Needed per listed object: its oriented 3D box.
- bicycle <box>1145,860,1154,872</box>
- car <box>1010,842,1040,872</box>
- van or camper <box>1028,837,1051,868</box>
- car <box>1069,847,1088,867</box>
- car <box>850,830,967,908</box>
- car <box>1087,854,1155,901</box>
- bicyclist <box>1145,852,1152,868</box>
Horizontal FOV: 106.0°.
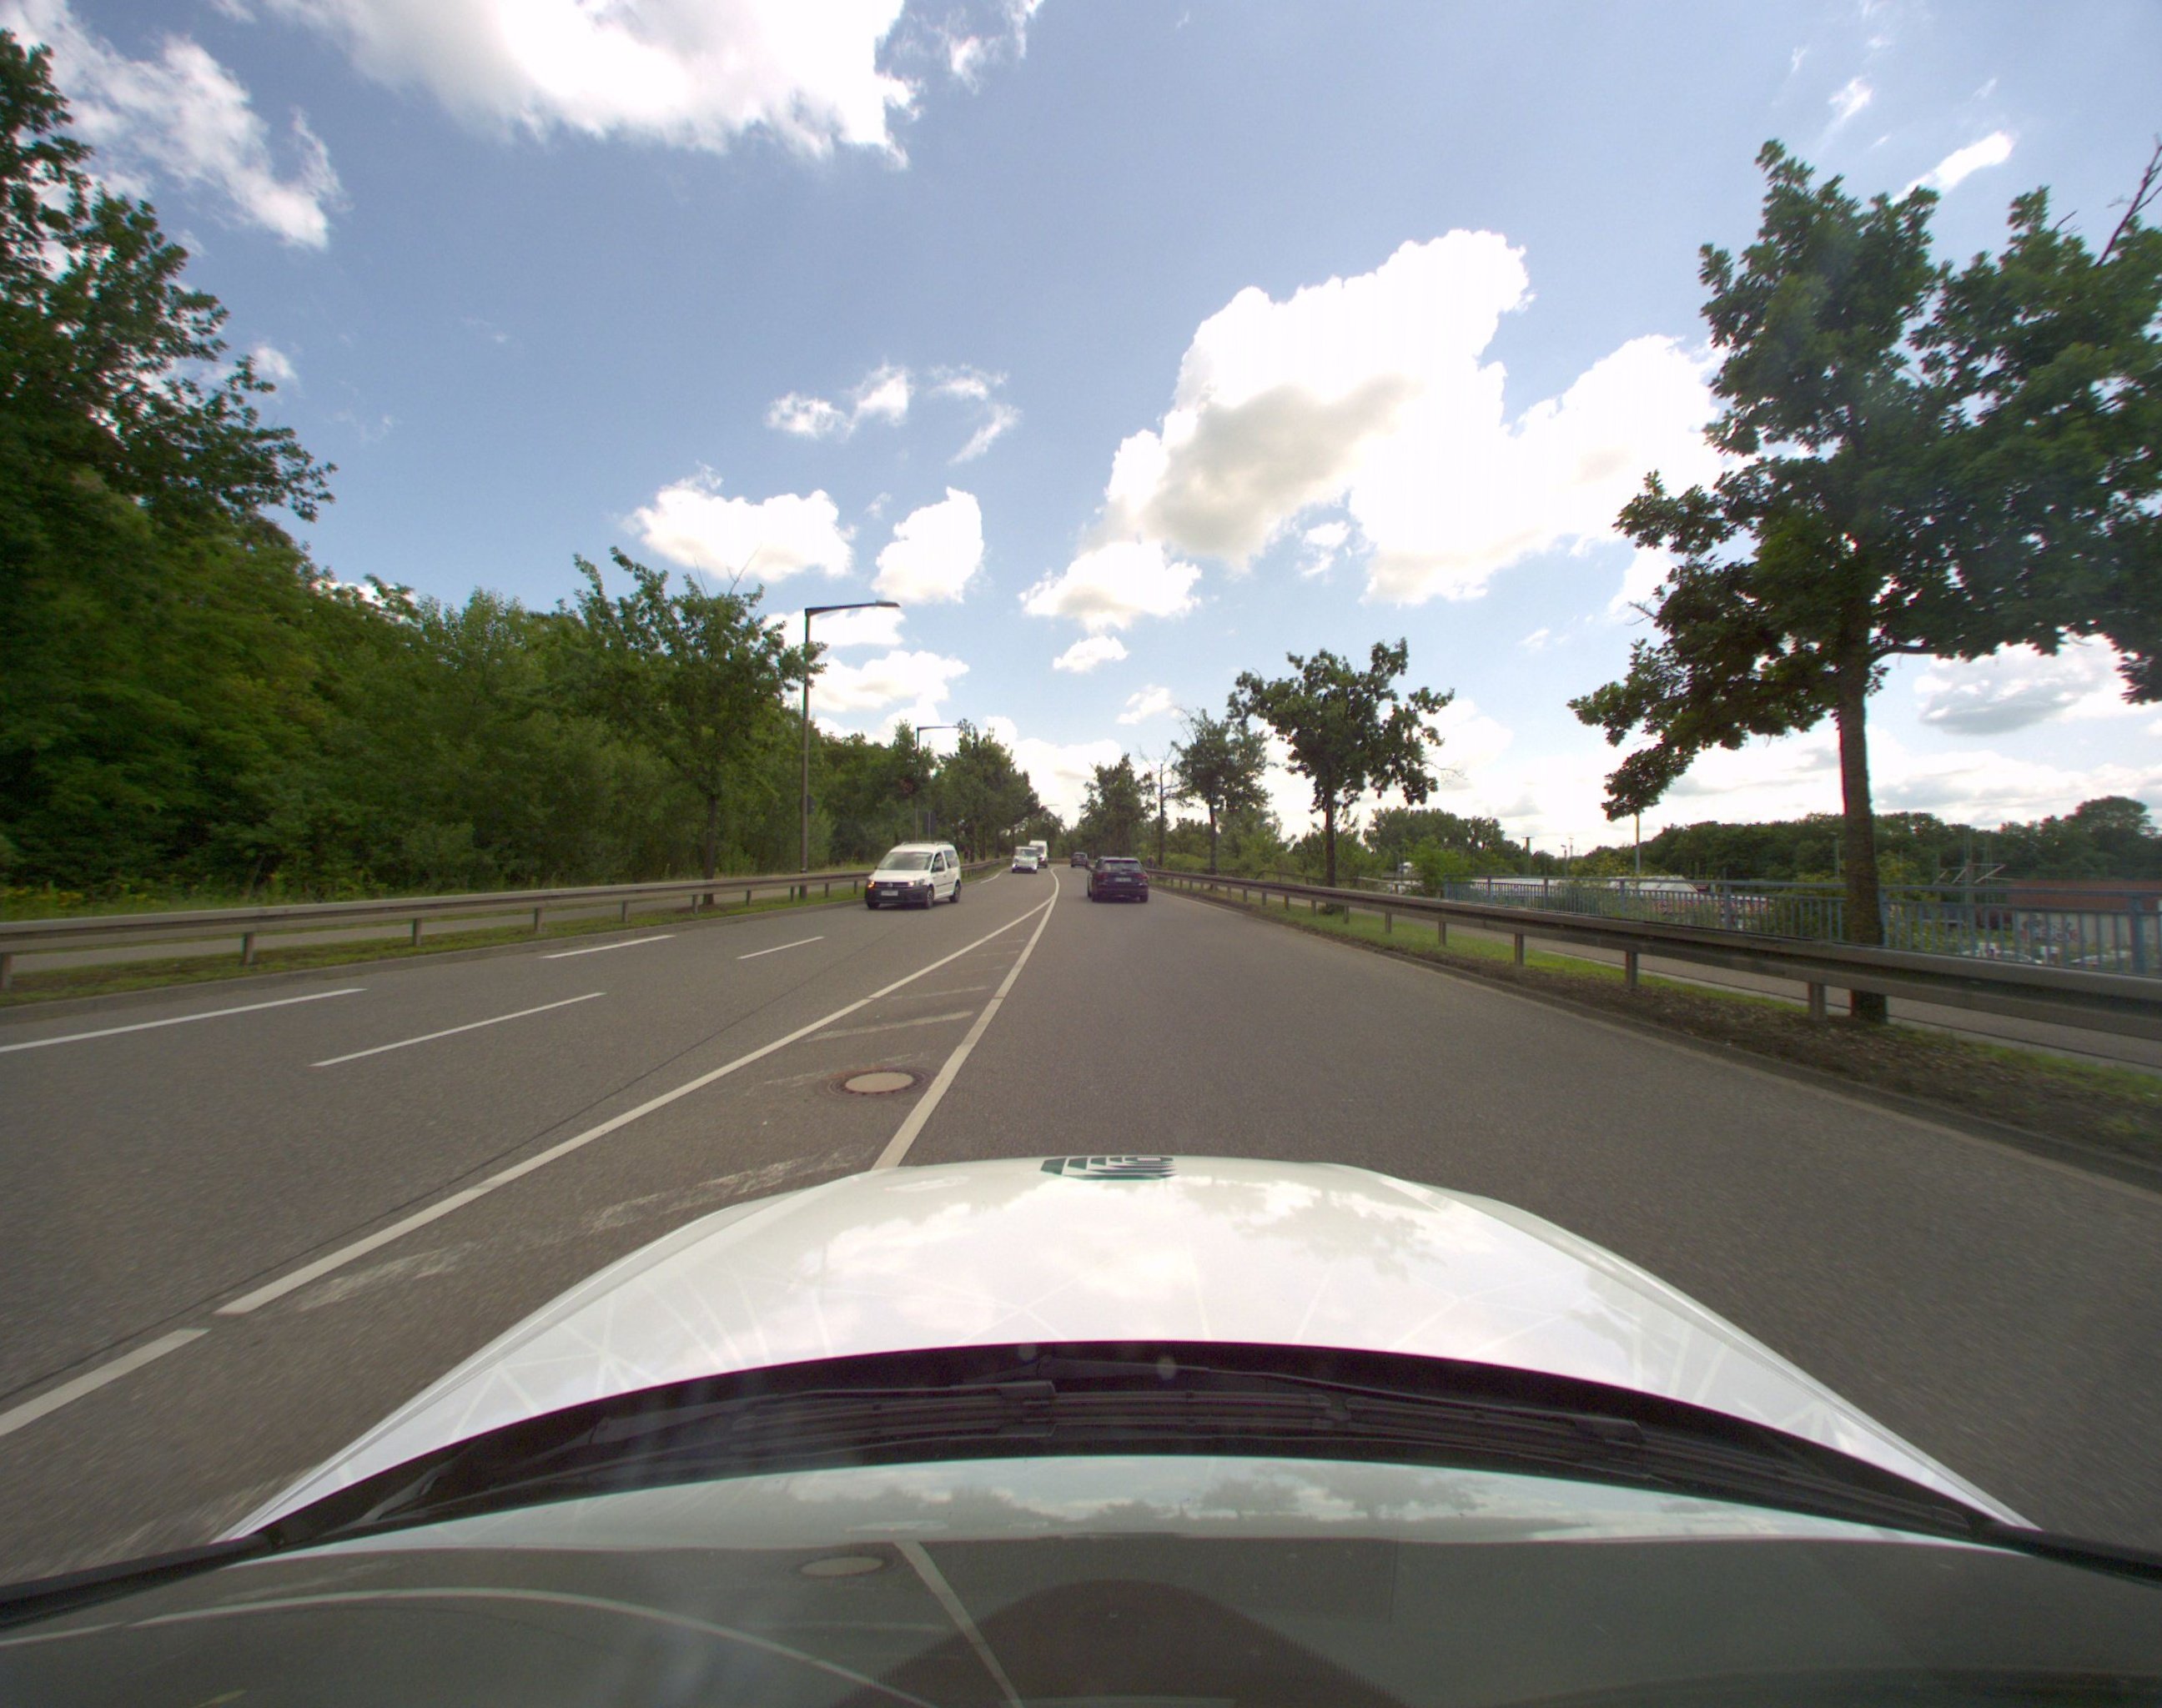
[{"bbox_3d":[5.124,0.871,60.587,0.540,0.866,1.750,2,-2,1],"label":"bicycle"},{"bbox_3d":[-3.990,0.248,58.098,1.989,2.014,4.449,2,-2,-3],"label":"car"},{"bbox_3d":[-3.946,-0.057,78.442,1.988,2.750,5.380,2,-2,-2],"label":"van or camper"},{"bbox_3d":[-0.241,0.328,90.677,1.987,2.038,4.711,1,-3,0],"label":"car"},{"bbox_3d":[-4.870,0.373,23.733,1.984,2.013,4.565,1,0,6],"label":"car"},{"bbox_3d":[1.226,0.743,27.035,1.987,1.390,4.574,2,-1,0],"label":"car"},{"bbox_3d":[5.006,0.478,60.676,0.472,1.168,0.827,-1,-2,1],"label":"bicyclist"}]
